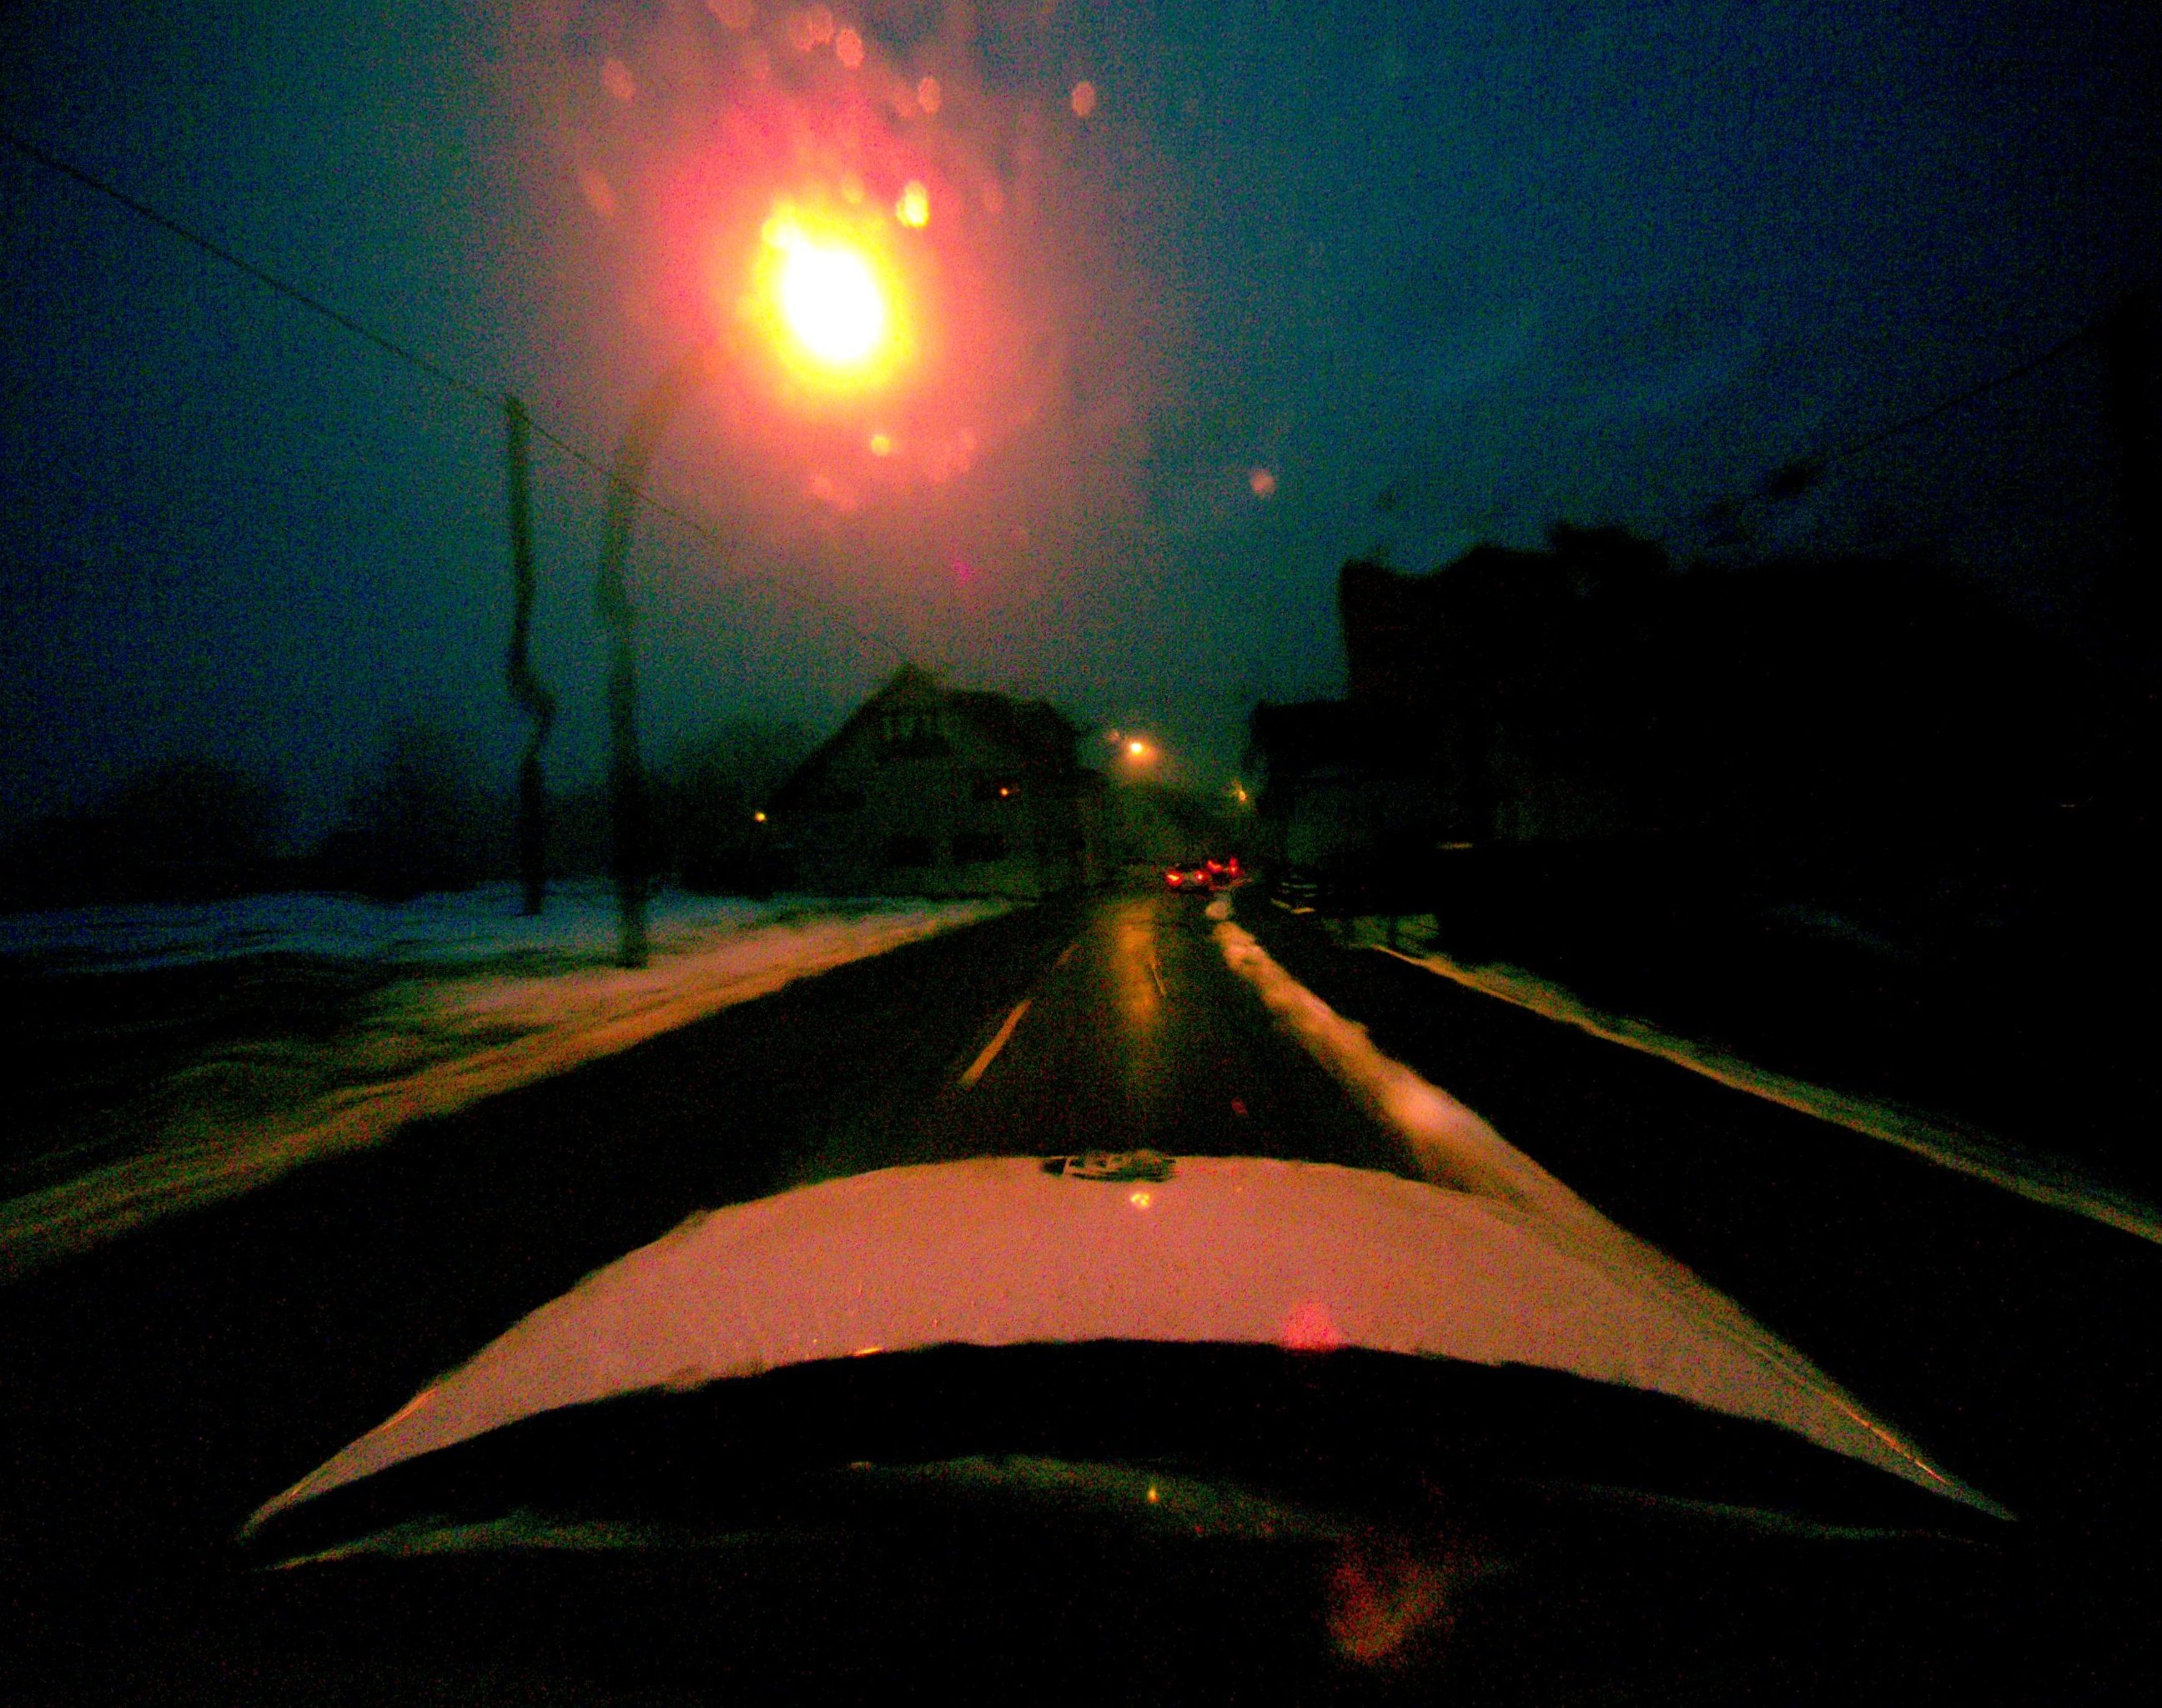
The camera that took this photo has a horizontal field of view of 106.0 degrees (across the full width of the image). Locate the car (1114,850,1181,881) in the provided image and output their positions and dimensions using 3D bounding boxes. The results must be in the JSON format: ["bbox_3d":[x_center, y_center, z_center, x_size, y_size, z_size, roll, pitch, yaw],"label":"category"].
[{"bbox_3d":[5.162,0.932,63.440,4.688,2.013,2.012,-4,2,26],"label":"car"}]

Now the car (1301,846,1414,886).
[{"bbox_3d":[10.720,0.442,31.813,3.963,1.453,1.719,0,2,9],"label":"car"}]

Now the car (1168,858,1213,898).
[{"bbox_3d":[5.382,1.128,39.715,1.982,1.507,4.011,-4,2,9],"label":"car"}]

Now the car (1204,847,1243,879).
[{"bbox_3d":[9.693,0.569,55.319,1.978,1.837,4.019,-4,2,17],"label":"car"}]
